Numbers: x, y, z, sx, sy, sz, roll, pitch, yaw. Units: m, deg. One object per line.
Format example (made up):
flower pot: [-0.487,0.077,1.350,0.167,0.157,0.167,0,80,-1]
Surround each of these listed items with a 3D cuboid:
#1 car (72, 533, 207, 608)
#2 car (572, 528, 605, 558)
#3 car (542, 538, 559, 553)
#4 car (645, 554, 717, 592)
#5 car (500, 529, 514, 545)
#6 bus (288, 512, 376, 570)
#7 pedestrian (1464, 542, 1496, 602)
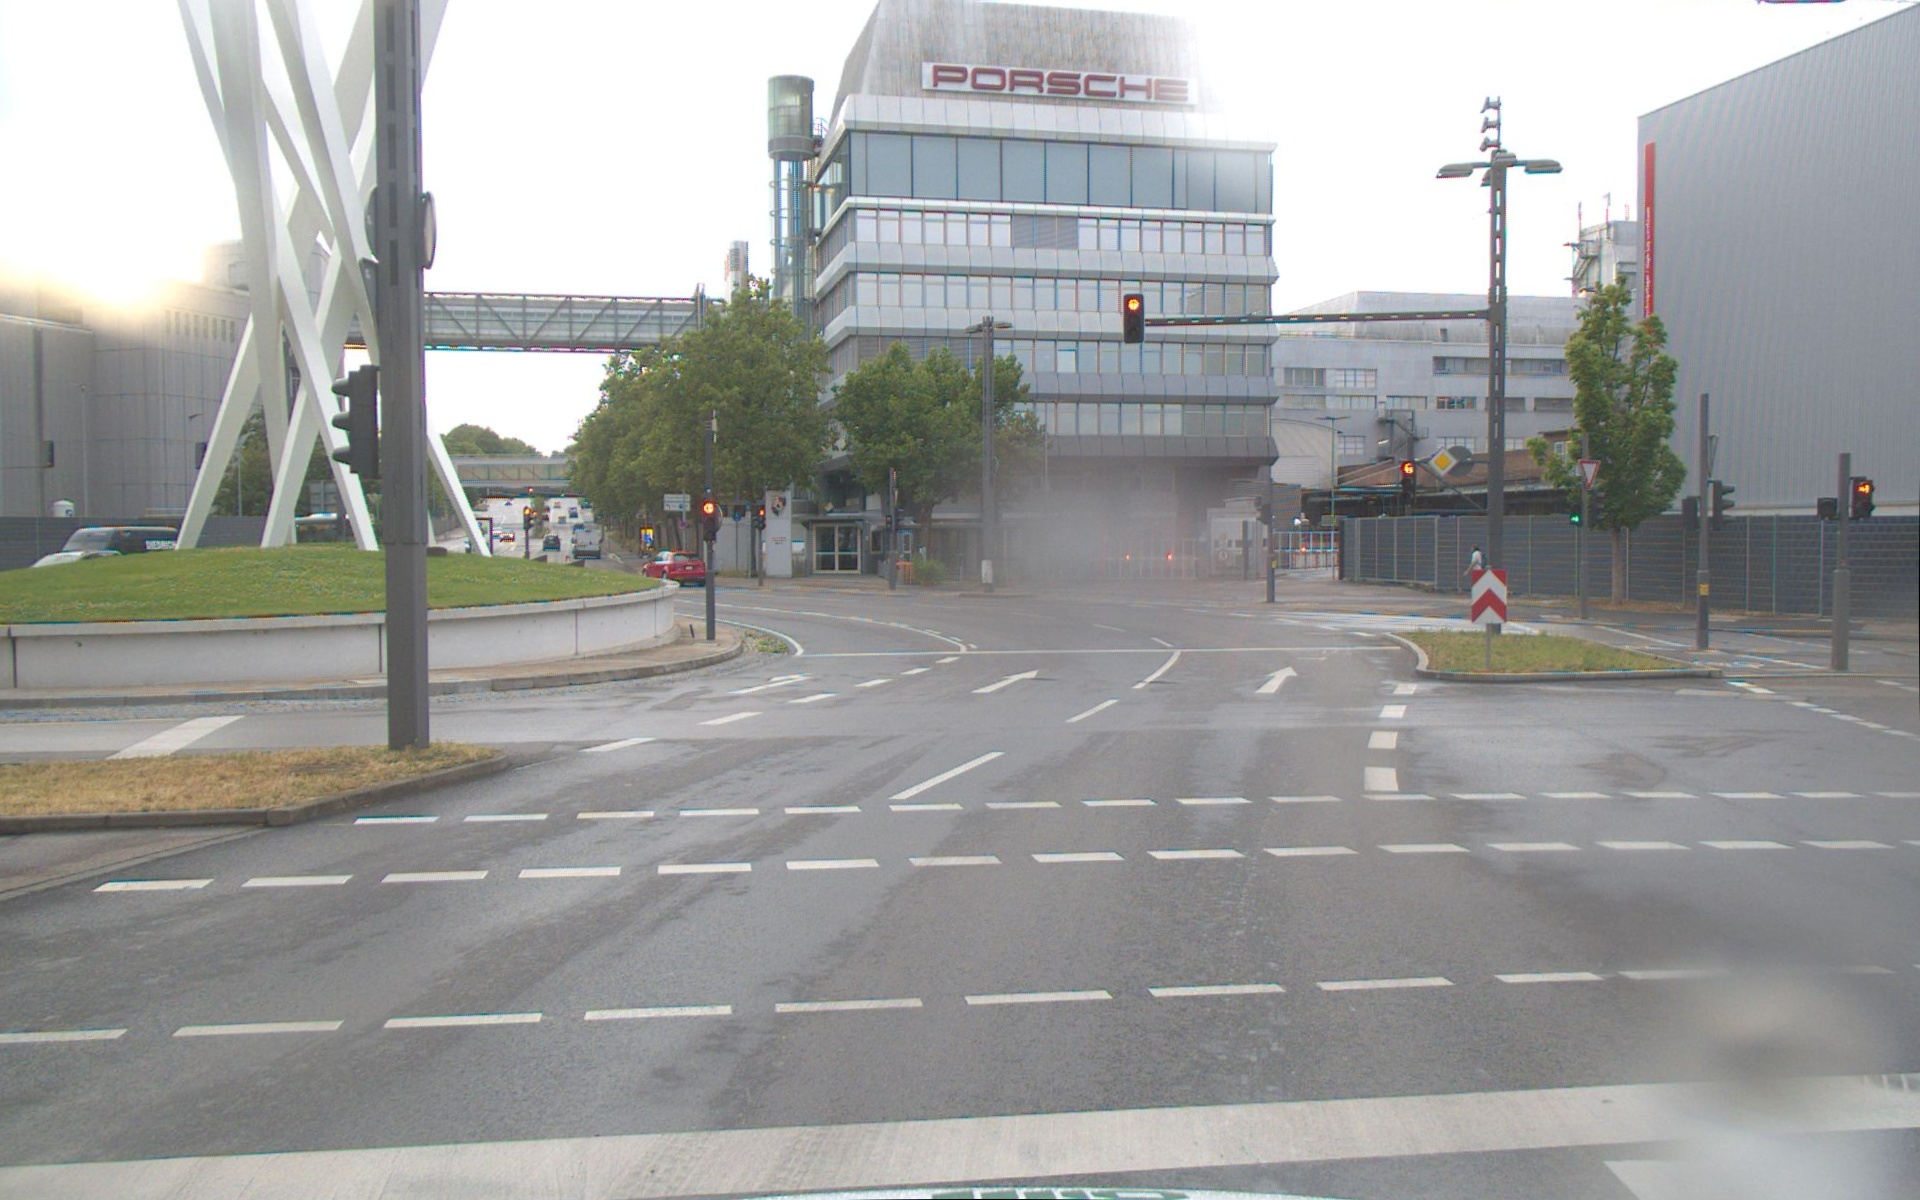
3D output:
car: [-33.179,-1.180,67.199,1.926,2.869,7.128,0,1,0]
car: [-29.121,-4.415,129.530,2.197,2.144,4.930,0,-1,-17]
car: [-39.934,-5.292,161.301,1.531,1.311,3.400,0,0,-14]
car: [-11.599,-1.114,68.530,1.754,1.490,3.694,0,0,-31]
car: [-56.972,-7.910,208.166,1.600,1.848,3.718,0,1,-15]
bus: [-37.829,-3.460,100.073,2.620,3.256,12.639,0,1,-10]
pedestrian: [14.367,-0.756,45.703,0.791,1.639,0.770,-1,-1,16]
